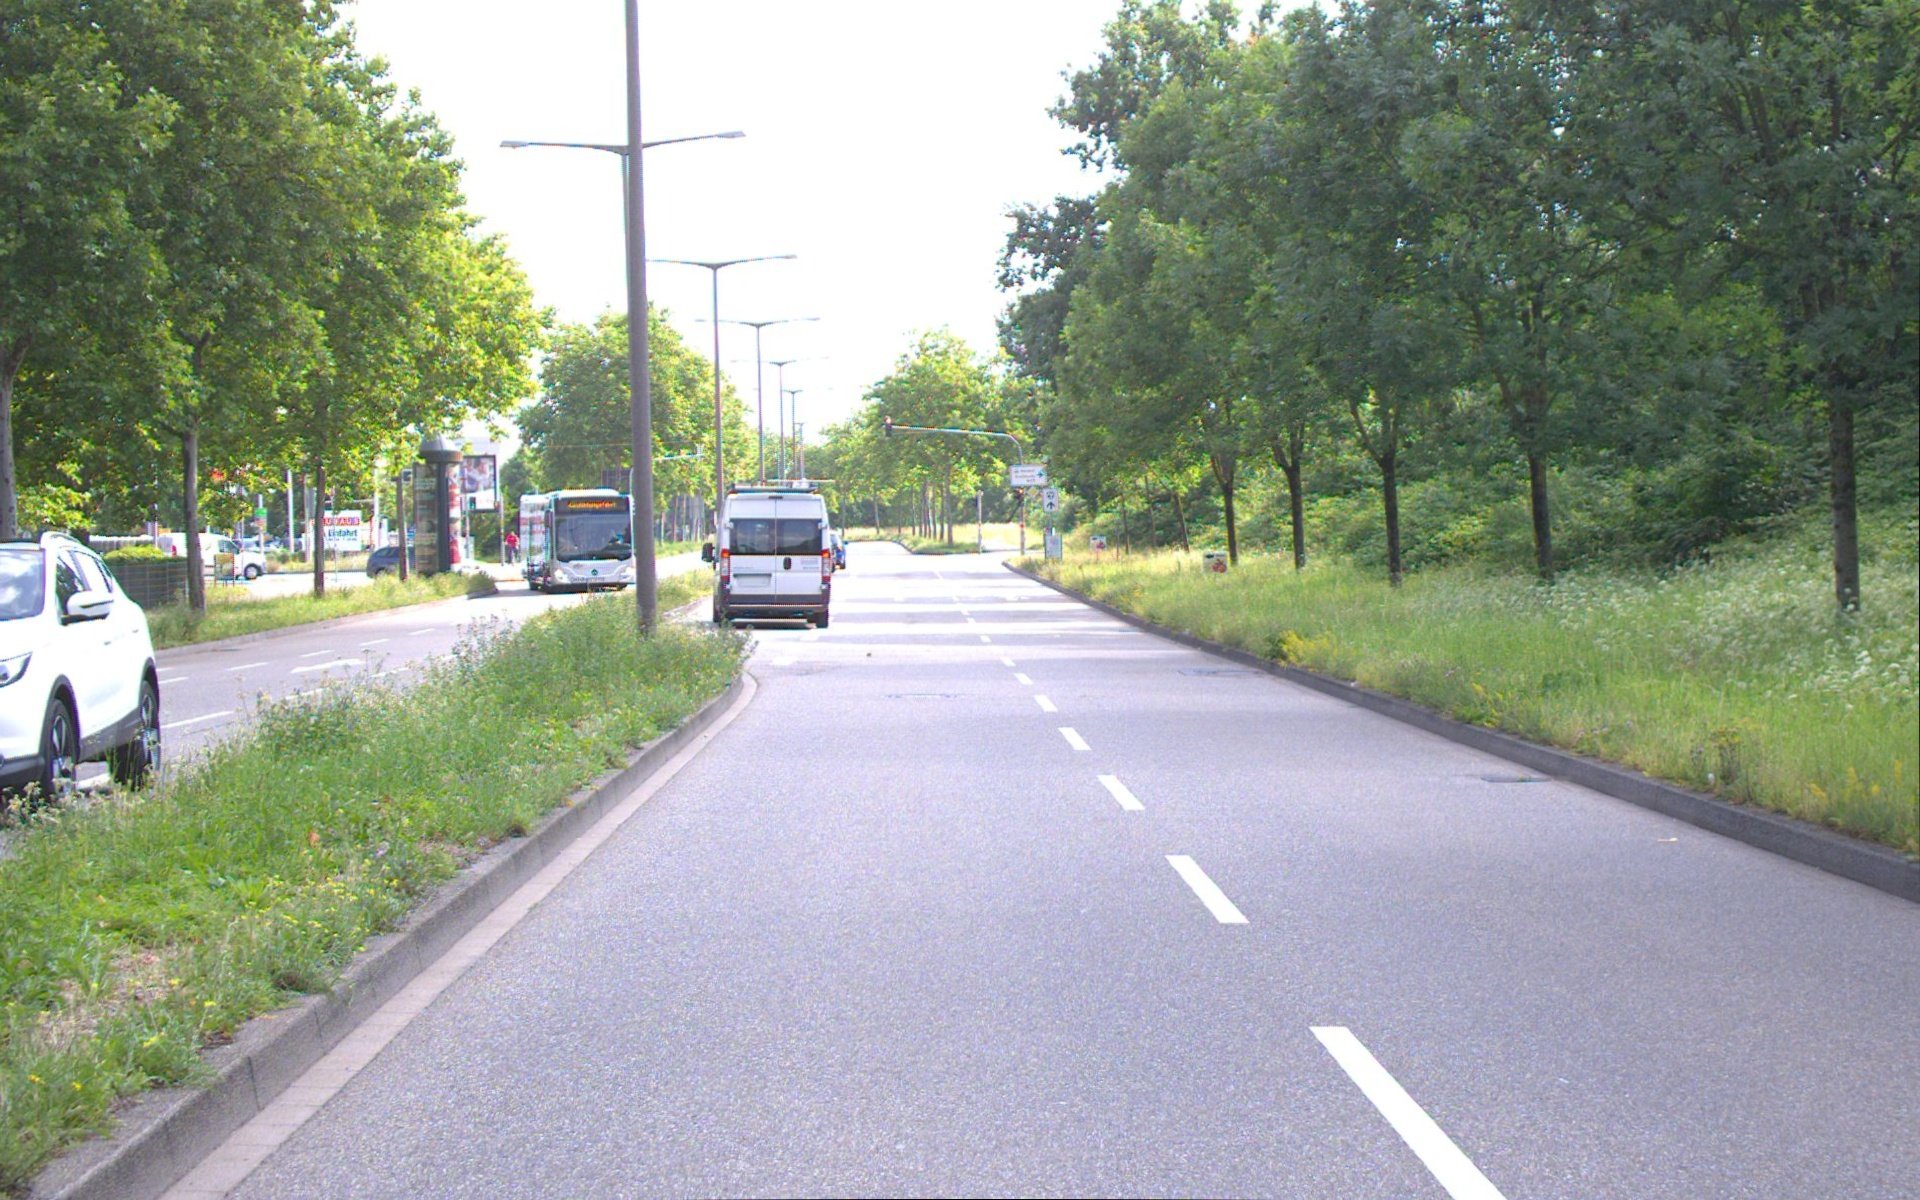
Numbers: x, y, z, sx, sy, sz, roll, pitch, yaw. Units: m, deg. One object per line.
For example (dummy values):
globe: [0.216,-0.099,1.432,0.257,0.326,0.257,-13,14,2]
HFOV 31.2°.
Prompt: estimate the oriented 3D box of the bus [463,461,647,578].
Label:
bus: [-12.736,-2.419,106.907,3.108,3.263,12.341,-3,1,-18]

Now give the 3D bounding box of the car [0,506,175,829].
car: [-5.820,0.345,19.594,1.813,1.634,4.352,-3,1,-3]

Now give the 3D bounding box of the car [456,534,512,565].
car: [-16.923,-1.796,122.279,1.559,1.037,3.414,-1,1,-1]

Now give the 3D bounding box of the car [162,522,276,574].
car: [-29.306,-2.049,135.960,3.988,1.832,1.864,2,-3,-40]

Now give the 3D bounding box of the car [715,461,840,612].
car: [-3.464,-1.155,64.410,2.197,2.717,4.932,0,0,-4]
